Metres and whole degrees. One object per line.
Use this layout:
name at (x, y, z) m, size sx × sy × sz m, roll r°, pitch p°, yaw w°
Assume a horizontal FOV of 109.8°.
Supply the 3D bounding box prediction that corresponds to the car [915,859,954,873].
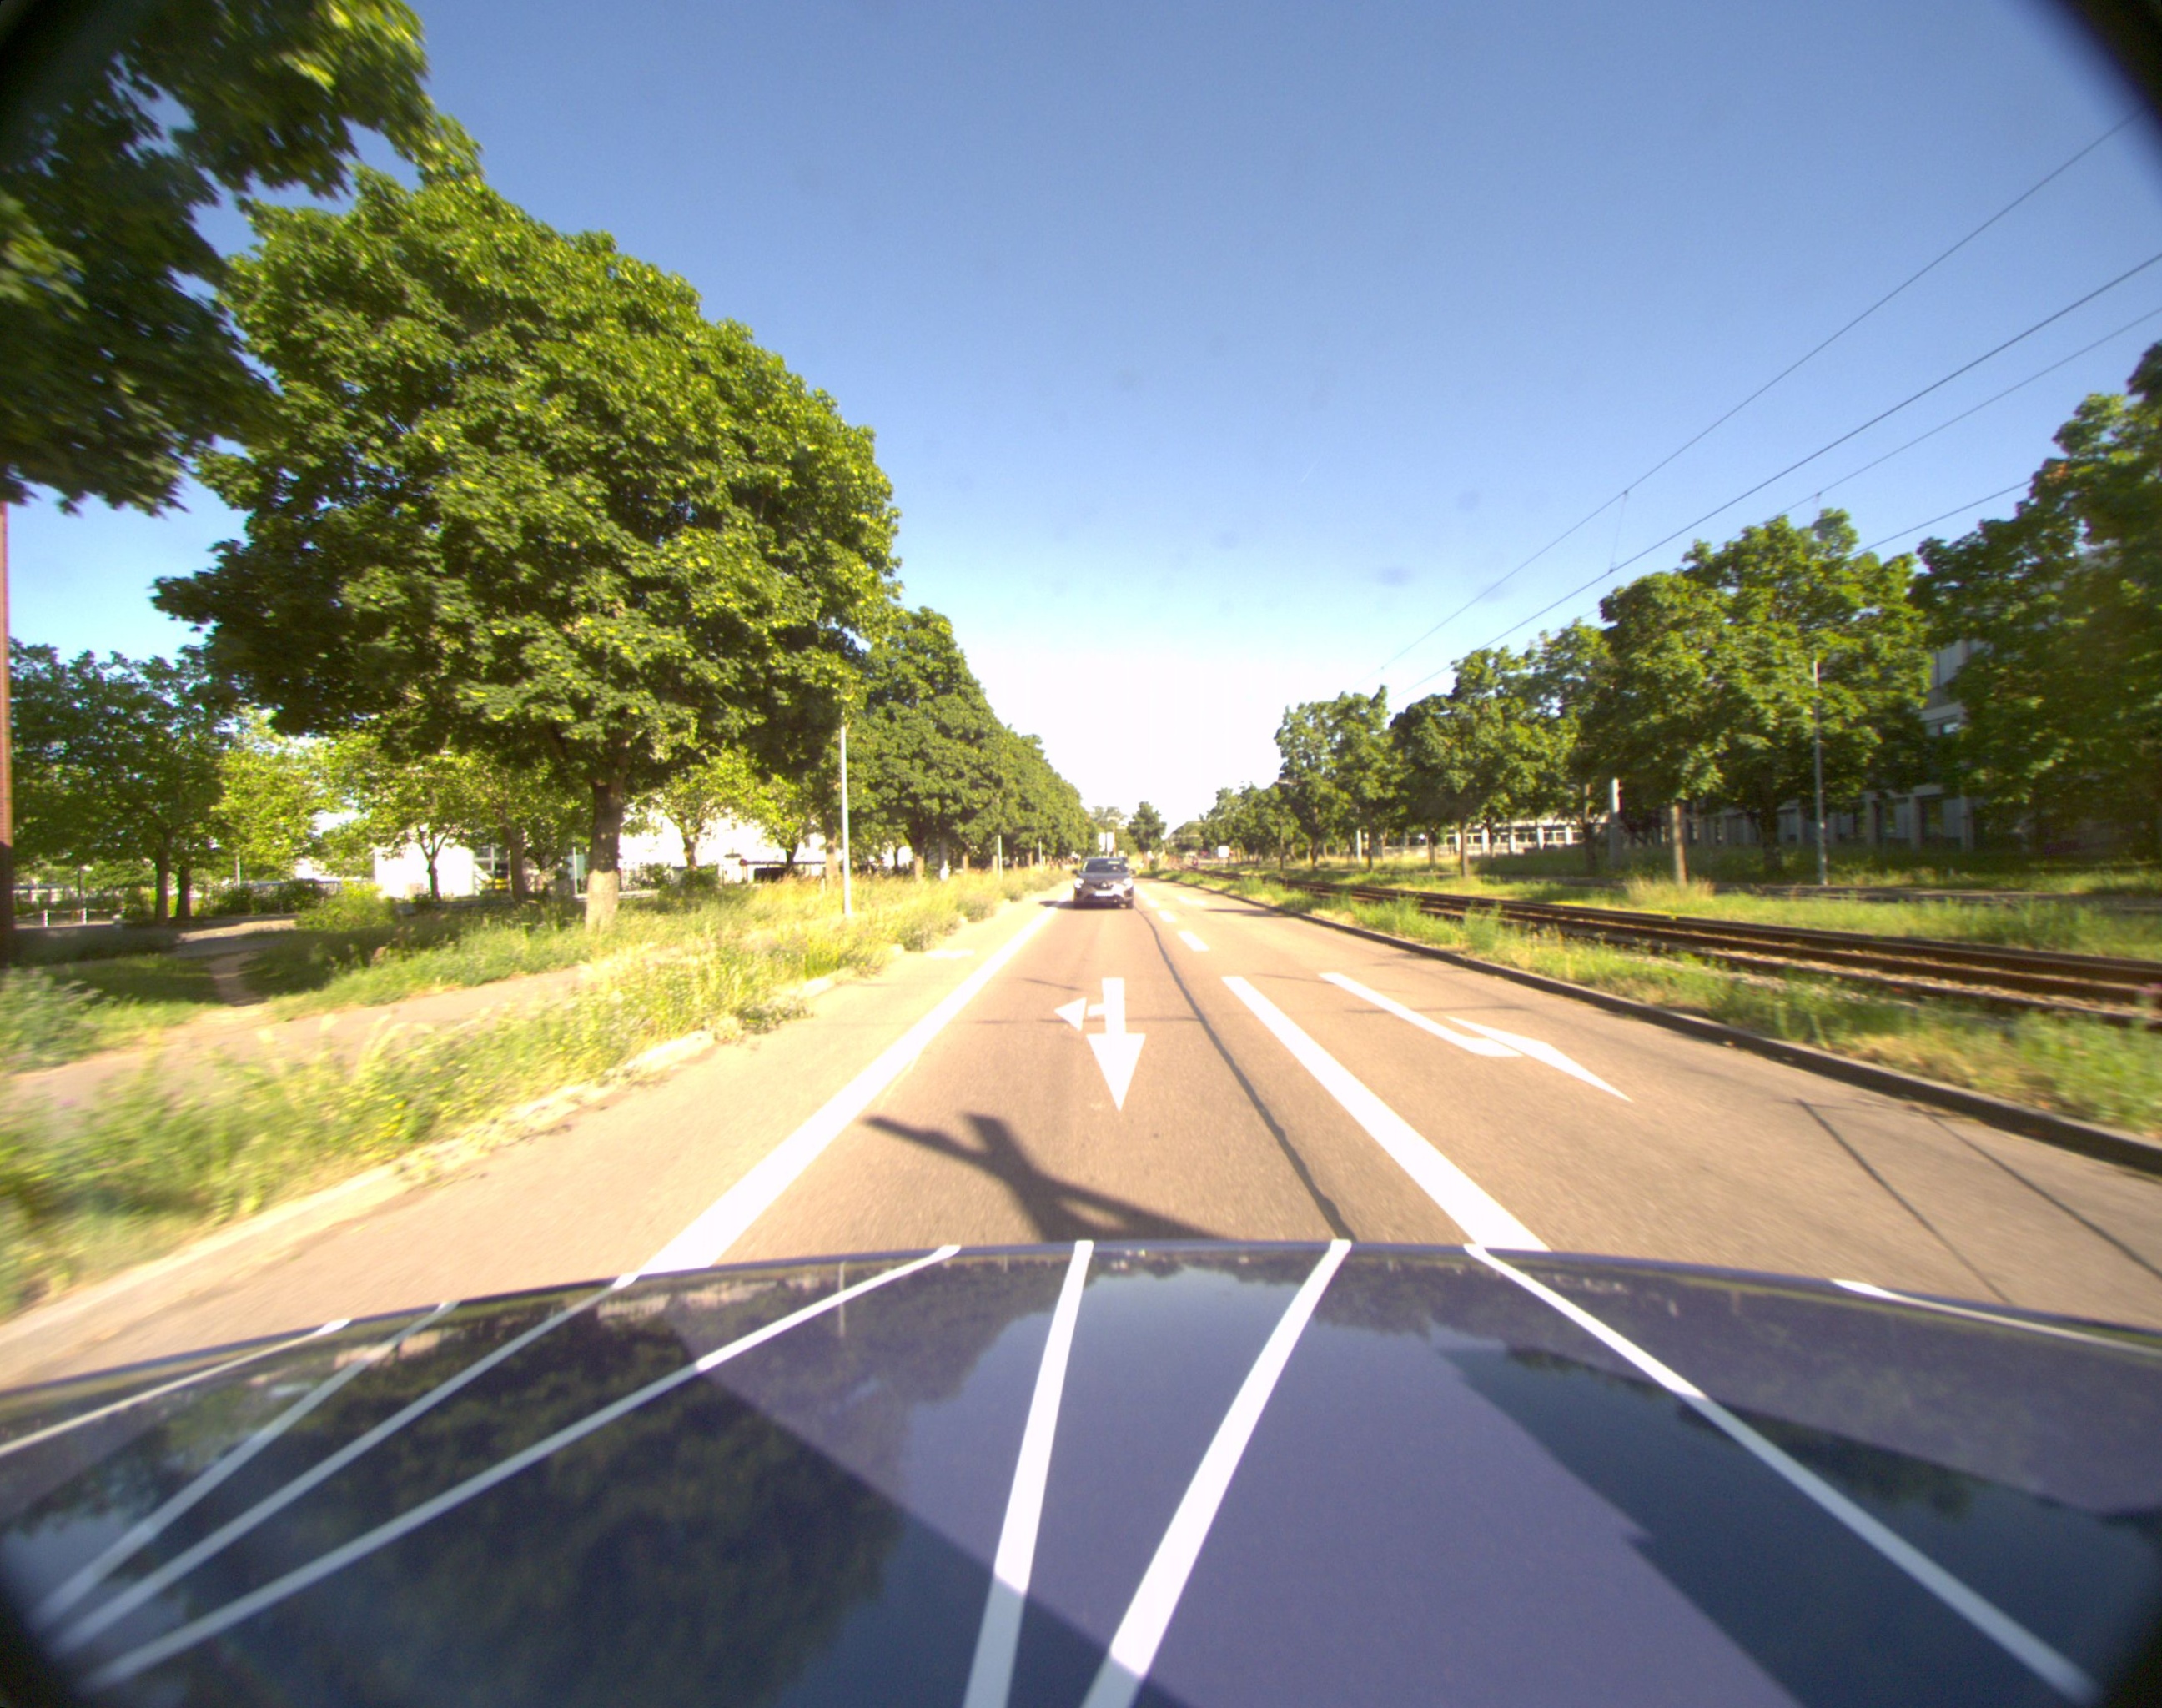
car at (-18.013, 1.443, 93.598) m, size 4.402 × 1.587 × 1.884 m, roll -2°, pitch 0°, yaw 1°

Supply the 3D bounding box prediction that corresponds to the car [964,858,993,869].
car at (-15.860, 1.496, 117.865) m, size 4.347 × 1.690 × 1.765 m, roll -1°, pitch 0°, yaw -5°

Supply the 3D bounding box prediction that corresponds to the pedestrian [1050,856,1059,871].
pedestrian at (-2.865, 1.043, 83.544) m, size 0.826 × 1.560 × 0.762 m, roll -2°, pitch 0°, yaw 5°

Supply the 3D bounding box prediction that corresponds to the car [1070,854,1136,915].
car at (0.754, 0.831, 23.032) m, size 1.749 × 1.585 × 4.248 m, roll -2°, pitch 1°, yaw 4°

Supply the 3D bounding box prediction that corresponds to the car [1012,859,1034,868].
car at (-12.586, 2.080, 163.881) m, size 2.084 × 1.865 × 5.173 m, roll -2°, pitch 0°, yaw -39°

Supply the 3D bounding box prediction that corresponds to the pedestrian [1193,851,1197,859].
pedestrian at (24.624, 0.236, 164.065) m, size 0.785 × 1.741 × 0.782 m, roll -2°, pitch 0°, yaw 5°

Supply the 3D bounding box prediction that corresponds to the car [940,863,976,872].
car at (-16.930, 1.869, 104.752) m, size 4.708 × 1.263 × 1.808 m, roll -1°, pitch -1°, yaw 2°

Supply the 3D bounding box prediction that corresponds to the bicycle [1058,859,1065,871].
bicycle at (-2.108, 1.204, 82.566) m, size 0.484 × 1.197 × 2.144 m, roll -2°, pitch 0°, yaw 5°

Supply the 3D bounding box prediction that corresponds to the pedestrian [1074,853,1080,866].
pedestrian at (-0.578, 0.845, 111.254) m, size 0.710 × 1.906 × 0.816 m, roll -2°, pitch 0°, yaw -5°

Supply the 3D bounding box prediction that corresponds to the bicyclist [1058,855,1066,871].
bicyclist at (-2.041, 0.928, 82.742) m, size 0.684 × 1.710 × 0.902 m, roll -2°, pitch 1°, yaw 4°

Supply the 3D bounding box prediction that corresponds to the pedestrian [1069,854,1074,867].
pedestrian at (-1.398, 0.962, 111.188) m, size 0.710 × 1.919 × 0.816 m, roll -2°, pitch 0°, yaw -3°

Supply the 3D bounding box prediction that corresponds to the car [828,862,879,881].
car at (-20.452, 1.563, 68.325) m, size 4.038 × 1.496 × 1.739 m, roll -2°, pitch 0°, yaw 5°

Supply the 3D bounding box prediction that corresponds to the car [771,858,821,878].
car at (-30.597, 1.545, 81.586) m, size 4.595 × 2.002 × 1.959 m, roll -2°, pitch 0°, yaw 6°

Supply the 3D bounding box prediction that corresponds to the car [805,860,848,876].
car at (-32.353, 1.784, 96.787) m, size 4.759 × 1.938 × 1.975 m, roll -1°, pitch 0°, yaw 4°

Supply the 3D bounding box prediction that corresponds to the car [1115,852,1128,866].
car at (5.159, 0.664, 97.241) m, size 1.554 × 1.764 × 3.458 m, roll -1°, pitch 0°, yaw 4°

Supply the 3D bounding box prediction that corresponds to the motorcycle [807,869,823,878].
motorcycle at (-30.456, 2.235, 86.943) m, size 1.652 × 0.965 × 0.538 m, roll -2°, pitch 0°, yaw 4°

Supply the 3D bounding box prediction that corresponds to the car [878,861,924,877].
car at (-18.168, 1.482, 76.761) m, size 4.173 × 1.423 × 1.825 m, roll -2°, pitch 0°, yaw 8°
